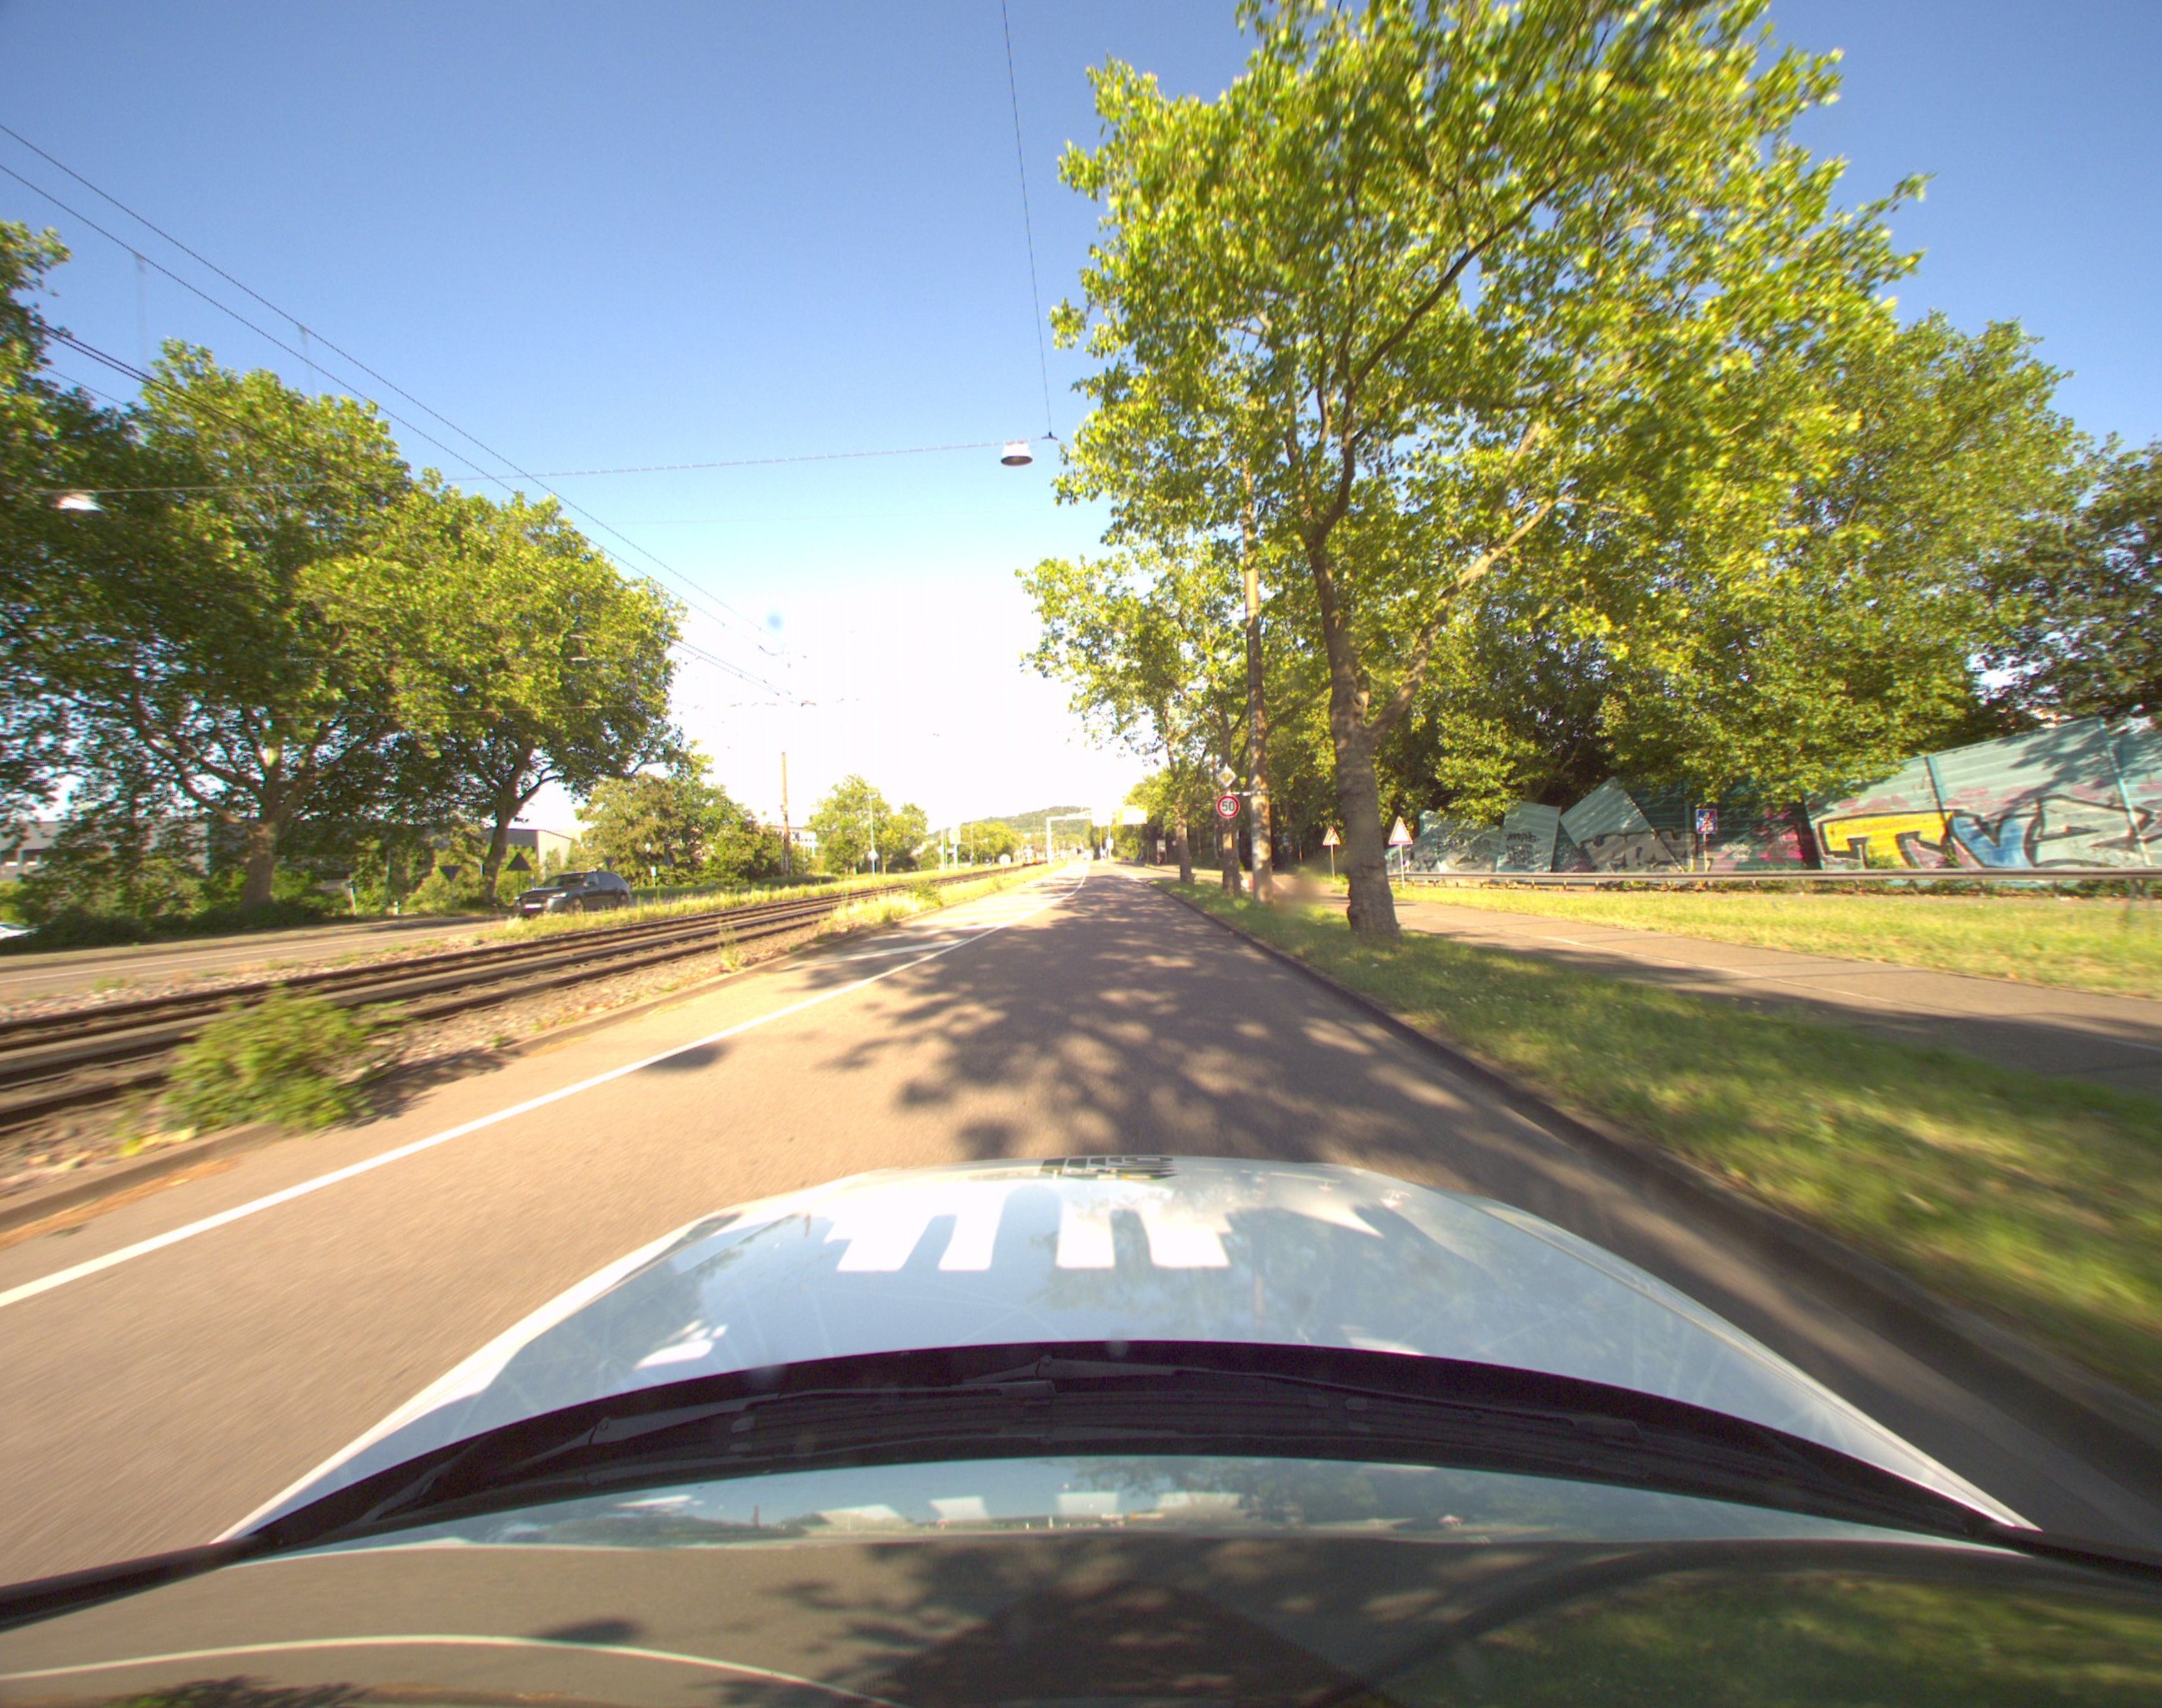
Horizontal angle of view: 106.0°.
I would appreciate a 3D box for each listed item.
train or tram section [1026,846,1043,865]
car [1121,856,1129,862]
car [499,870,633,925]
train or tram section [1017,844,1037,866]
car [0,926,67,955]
[{"bbox_3d":[-9.989,0.298,175.549,2.795,3.902,11.810,-1,0,0],"label":"train or tram section"},{"bbox_3d":[12.504,1.460,231.847,2.075,1.566,3.962,-1,0,6],"label":"car"},{"bbox_3d":[-19.249,1.556,30.765,1.893,1.694,4.938,-4,0,-1],"label":"car"},{"bbox_3d":[-10.024,0.143,151.477,2.795,3.902,12.329,-1,0,0],"label":"train or tram section"},{"bbox_3d":[-63.123,5.151,47.741,4.284,1.525,1.643,-2,-3,-28],"label":"car"}]
